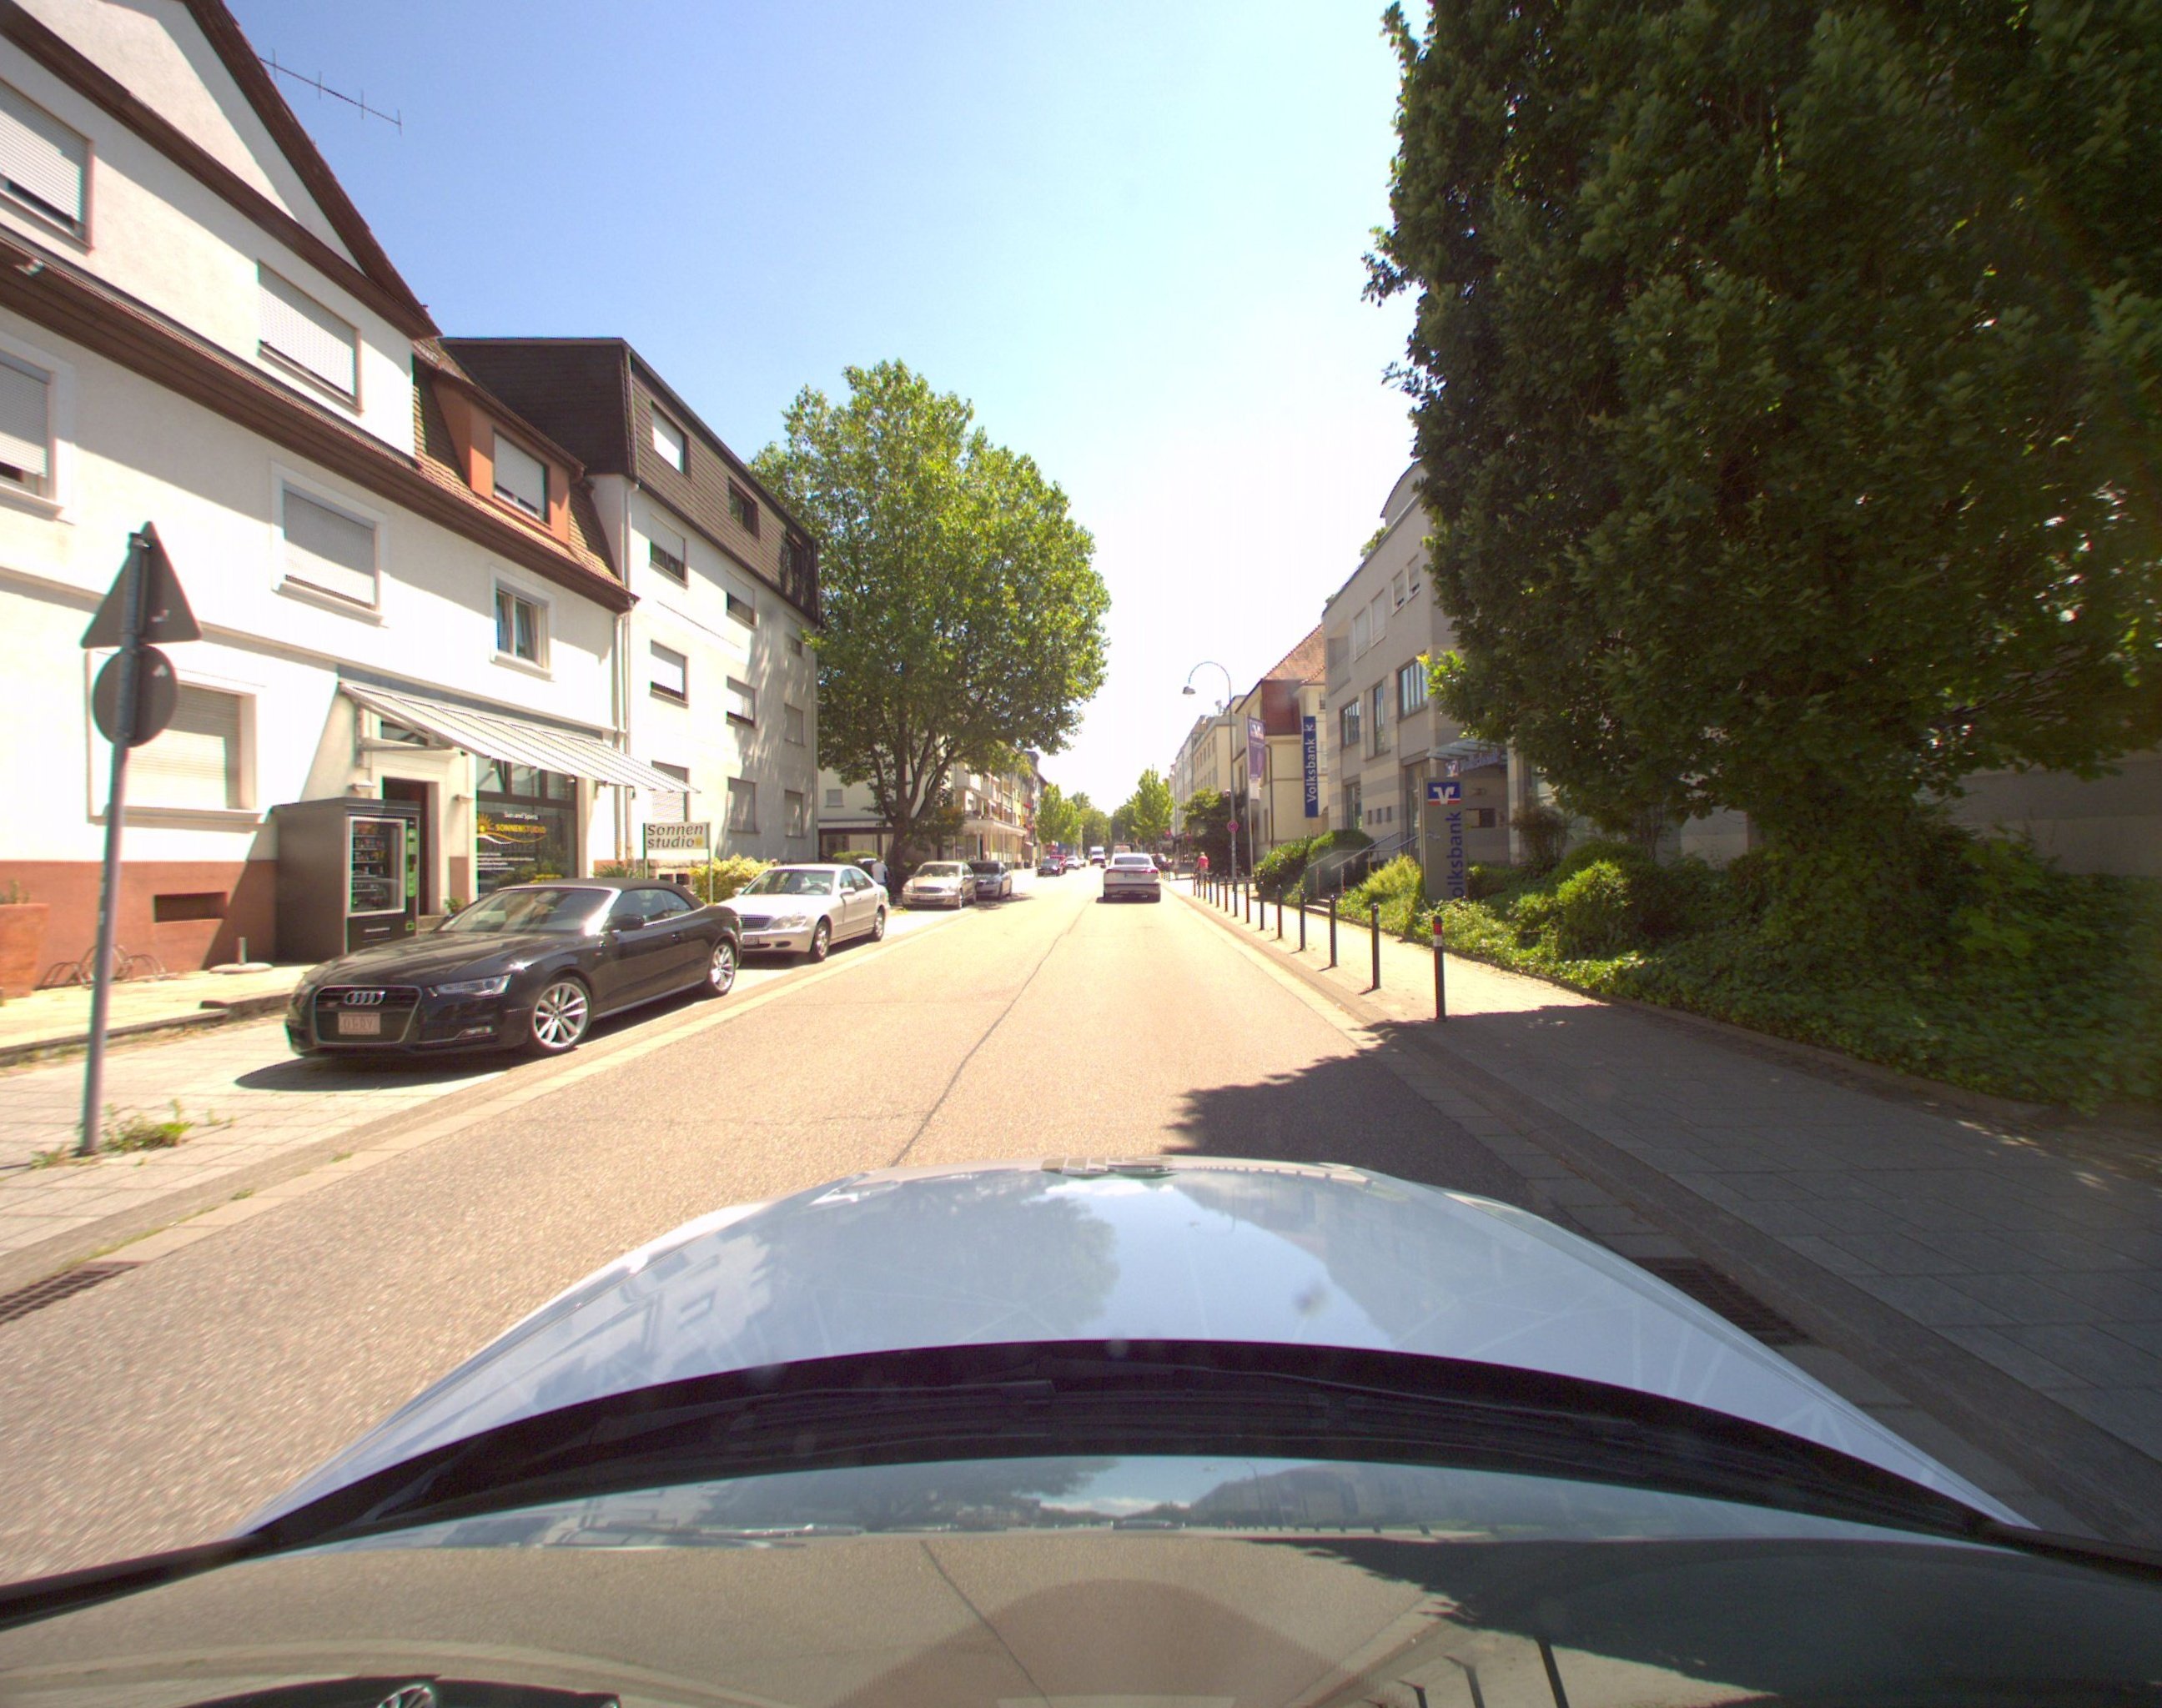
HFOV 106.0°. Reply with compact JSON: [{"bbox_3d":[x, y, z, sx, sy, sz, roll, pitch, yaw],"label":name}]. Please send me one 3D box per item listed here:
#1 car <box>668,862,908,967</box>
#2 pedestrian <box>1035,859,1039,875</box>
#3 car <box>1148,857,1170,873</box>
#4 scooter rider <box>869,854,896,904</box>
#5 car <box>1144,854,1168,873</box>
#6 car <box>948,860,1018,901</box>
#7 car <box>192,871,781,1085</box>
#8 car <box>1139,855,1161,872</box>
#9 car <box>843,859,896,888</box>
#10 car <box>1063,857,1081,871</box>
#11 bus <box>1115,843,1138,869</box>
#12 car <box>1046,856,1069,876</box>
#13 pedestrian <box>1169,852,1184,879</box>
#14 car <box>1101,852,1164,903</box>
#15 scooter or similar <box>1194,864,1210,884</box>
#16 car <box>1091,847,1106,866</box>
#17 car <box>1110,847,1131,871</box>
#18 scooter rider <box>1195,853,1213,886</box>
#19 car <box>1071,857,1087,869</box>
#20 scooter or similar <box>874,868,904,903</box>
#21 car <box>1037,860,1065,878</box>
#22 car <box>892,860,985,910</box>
[{"bbox_3d":[-4.726,0.882,14.213,1.973,1.452,5.362,0,0,3],"label":"car"},{"bbox_3d":[-4.951,1.452,92.238,0.394,1.735,0.444,-1,-1,-9],"label":"pedestrian"},{"bbox_3d":[7.019,0.968,73.749,1.887,1.438,4.549,-1,0,4],"label":"car"},{"bbox_3d":[-6.409,0.802,26.330,0.586,1.575,0.878,1,0,4],"label":"scooter rider"},{"bbox_3d":[7.351,0.907,79.887,1.890,1.674,4.690,-3,0,0],"label":"car"},{"bbox_3d":[-3.724,0.972,31.818,1.973,1.452,5.152,0,0,2],"label":"car"},{"bbox_3d":[-5.044,0.908,8.147,1.934,1.373,5.102,-1,0,3],"label":"car"},{"bbox_3d":[7.173,0.954,85.244,1.850,1.674,4.536,-3,0,0],"label":"car"},{"bbox_3d":[-11.404,1.021,43.753,1.902,1.486,3.959,-1,0,-28],"label":"car"},{"bbox_3d":[-1.012,1.198,96.663,1.745,1.618,4.405,1,0,4],"label":"car"},{"bbox_3d":[5.865,0.289,104.101,2.648,3.221,7.311,1,-1,5],"label":"bus"},{"bbox_3d":[-2.104,1.027,73.362,1.746,1.702,4.103,1,0,2],"label":"car"},{"bbox_3d":[5.850,0.716,49.848,0.697,1.627,0.784,-4,-1,1],"label":"pedestrian"},{"bbox_3d":[1.707,0.765,28.160,1.986,1.633,4.001,0,0,1],"label":"car"},{"bbox_3d":[5.965,0.997,40.104,0.660,0.963,0.754,-2,0,2],"label":"scooter or similar"},{"bbox_3d":[2.622,0.407,122.002,2.029,2.630,7.108,-3,0,1],"label":"car"},{"bbox_3d":[4.242,0.565,86.730,2.147,2.442,5.287,1,-1,3],"label":"car"},{"bbox_3d":[5.945,0.726,39.450,0.713,1.548,0.770,-2,0,0],"label":"scooter rider"},{"bbox_3d":[-0.190,1.194,107.515,1.744,1.453,4.406,1,0,4],"label":"car"},{"bbox_3d":[-6.365,1.029,26.999,0.660,1.098,1.029,1,0,4],"label":"scooter or similar"},{"bbox_3d":[-2.447,1.215,66.890,1.889,1.417,5.050,1,0,2],"label":"car"},{"bbox_3d":[-4.392,0.910,25.940,1.973,1.452,4.870,0,0,2],"label":"car"}]
